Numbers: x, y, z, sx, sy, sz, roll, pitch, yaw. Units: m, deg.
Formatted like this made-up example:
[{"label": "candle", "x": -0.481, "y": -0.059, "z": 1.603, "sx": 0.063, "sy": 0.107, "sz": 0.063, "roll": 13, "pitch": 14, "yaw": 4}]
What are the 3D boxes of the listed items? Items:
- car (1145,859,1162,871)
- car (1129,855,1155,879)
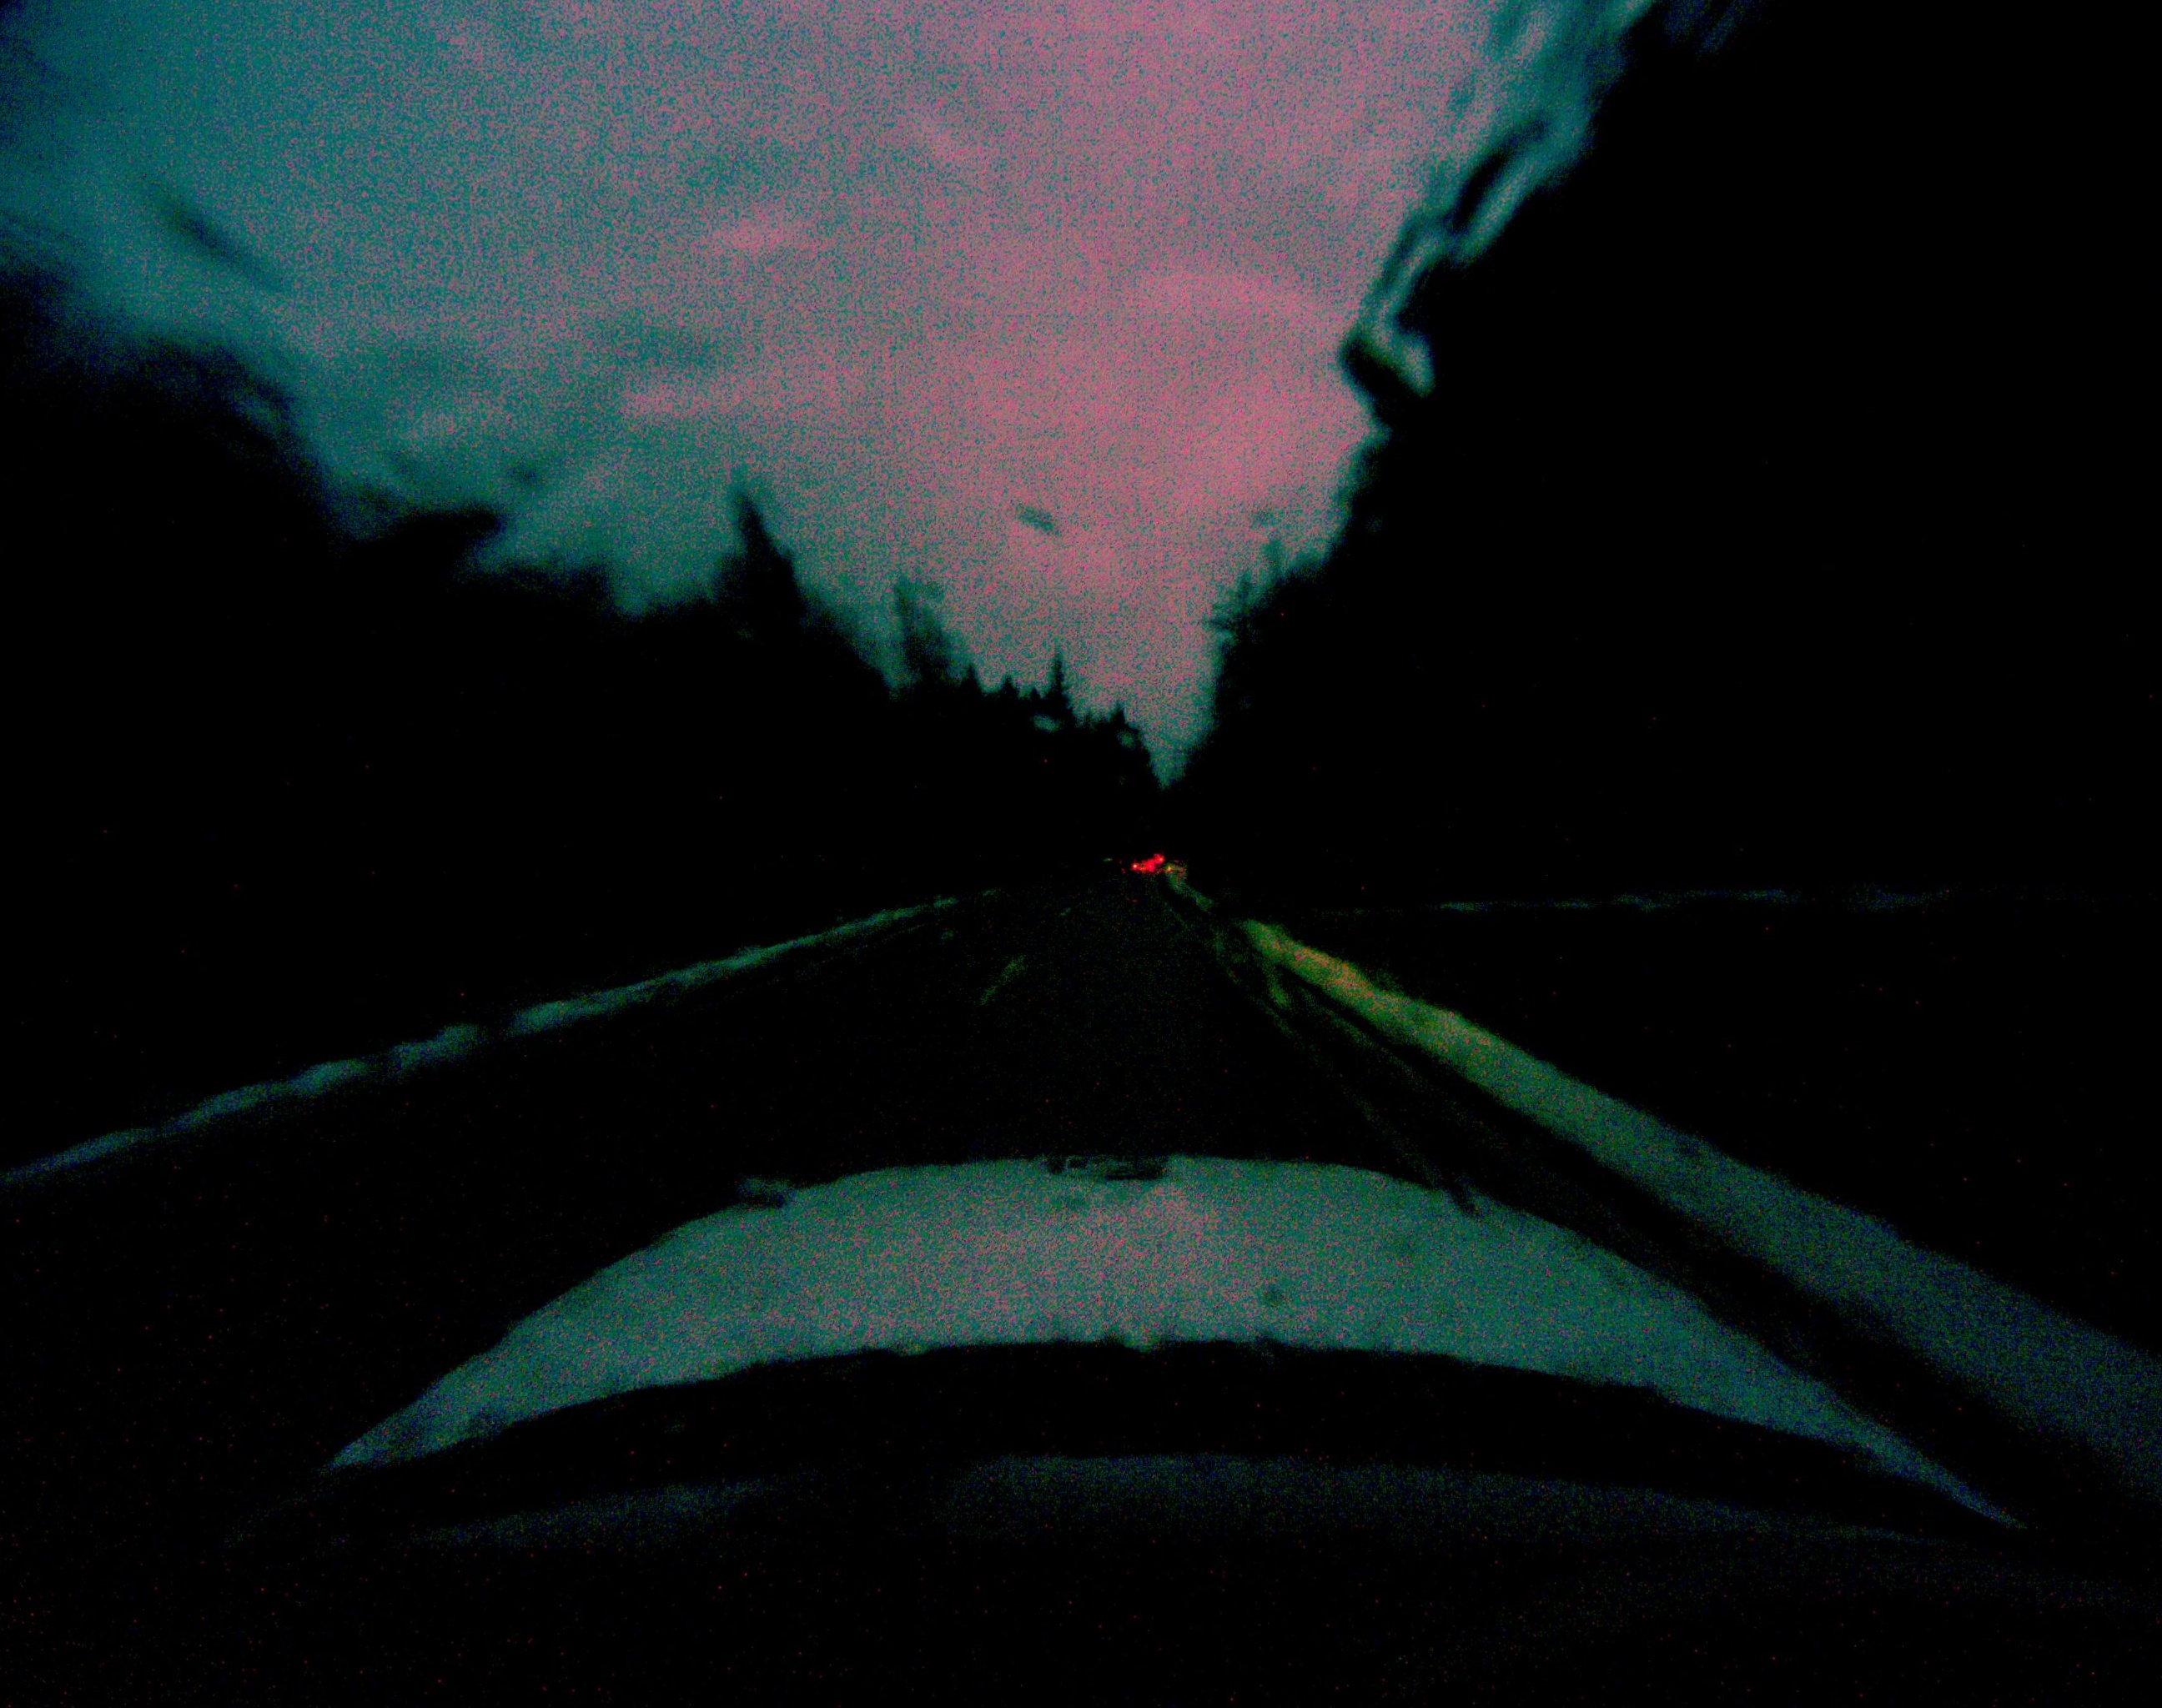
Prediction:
[{"label": "car", "x": 9.034, "y": 1.341, "z": 101.940, "sx": 1.985, "sy": 1.310, "sz": 4.004, "roll": -4, "pitch": 0, "yaw": 3}, {"label": "car", "x": 5.066, "y": 1.068, "z": 68.083, "sx": 1.985, "sy": 1.872, "sz": 4.004, "roll": -4, "pitch": 0, "yaw": 3}]
